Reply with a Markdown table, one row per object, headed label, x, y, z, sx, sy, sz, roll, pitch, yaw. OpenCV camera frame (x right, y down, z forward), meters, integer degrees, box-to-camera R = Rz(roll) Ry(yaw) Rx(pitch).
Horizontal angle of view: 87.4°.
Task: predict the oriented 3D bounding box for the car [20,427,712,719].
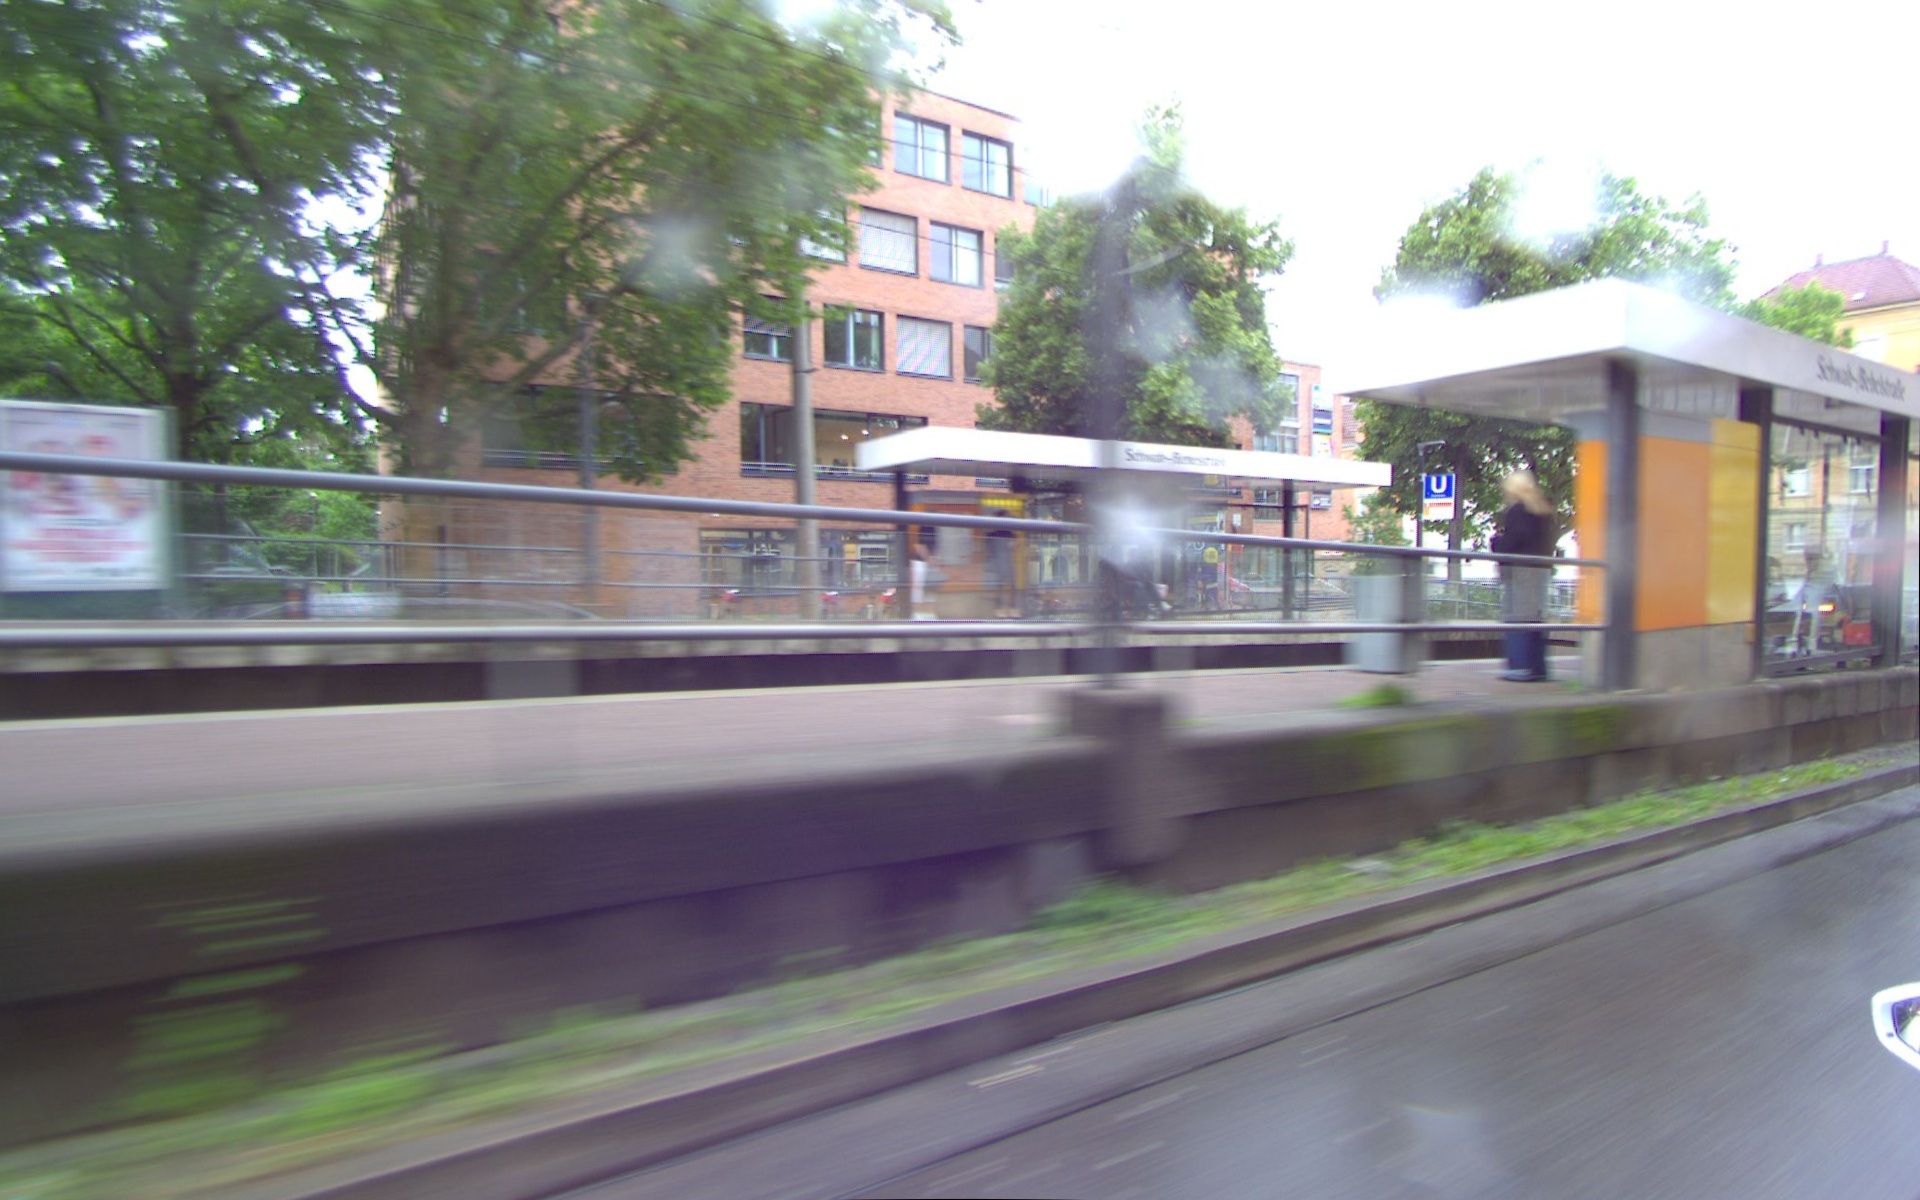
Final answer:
| label | x | y | z | sx | sy | sz | roll | pitch | yaw |
| --- | --- | --- | --- | --- | --- | --- | --- | --- | --- |
| car | -3.544 | -0.145 | 6.505 | 3.426 | 1.409 | 1.681 | 0 | 1 | -33 |

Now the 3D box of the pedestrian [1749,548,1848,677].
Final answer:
| label | x | y | z | sx | sy | sz | roll | pitch | yaw |
| --- | --- | --- | --- | --- | --- | --- | --- | --- | --- |
| pedestrian | 8.373 | 0.117 | 10.040 | 0.501 | 1.243 | 0.611 | 0 | 2 | -30 |

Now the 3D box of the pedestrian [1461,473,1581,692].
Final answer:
| label | x | y | z | sx | sy | sz | roll | pitch | yaw |
| --- | --- | --- | --- | --- | --- | --- | --- | --- | --- |
| pedestrian | 4.337 | -0.130 | 7.783 | 0.626 | 1.626 | 0.495 | 0 | 1 | -17 |

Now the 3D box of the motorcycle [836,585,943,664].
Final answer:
| label | x | y | z | sx | sy | sz | roll | pitch | yaw |
| --- | --- | --- | --- | --- | --- | --- | --- | --- | --- |
| motorcycle | -1.903 | 0.570 | 26.159 | 0.996 | 1.840 | 3.839 | 0 | 2 | -34 |

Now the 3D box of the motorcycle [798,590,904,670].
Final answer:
| label | x | y | z | sx | sy | sz | roll | pitch | yaw |
| --- | --- | --- | --- | --- | --- | --- | --- | --- | --- |
| motorcycle | -2.845 | 0.690 | 25.525 | 0.996 | 1.840 | 3.839 | 0 | 2 | -34 |

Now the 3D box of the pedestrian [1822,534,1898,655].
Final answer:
| label | x | y | z | sx | sy | sz | roll | pitch | yaw |
| --- | --- | --- | --- | --- | --- | --- | --- | --- | --- |
| pedestrian | 12.227 | -0.075 | 13.650 | 0.501 | 1.602 | 0.611 | 0 | 2 | -30 |

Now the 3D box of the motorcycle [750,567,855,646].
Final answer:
| label | x | y | z | sx | sy | sz | roll | pitch | yaw |
| --- | --- | --- | --- | --- | --- | --- | --- | --- | --- |
| motorcycle | -3.941 | 0.107 | 24.671 | 0.996 | 1.798 | 3.839 | 0 | 2 | -34 |

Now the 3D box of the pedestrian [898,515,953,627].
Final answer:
| label | x | y | z | sx | sy | sz | roll | pitch | yaw |
| --- | --- | --- | --- | --- | --- | --- | --- | --- | --- |
| pedestrian | -0.525 | -0.443 | 15.292 | 0.558 | 1.663 | 0.682 | -1 | 3 | -35 |

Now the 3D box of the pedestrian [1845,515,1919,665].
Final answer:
| label | x | y | z | sx | sy | sz | roll | pitch | yaw |
| --- | --- | --- | --- | --- | --- | --- | --- | --- | --- |
| pedestrian | 11.008 | -0.118 | 11.895 | 0.580 | 1.711 | 0.611 | 0 | 2 | -30 |

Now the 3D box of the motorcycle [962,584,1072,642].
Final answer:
| label | x | y | z | sx | sy | sz | roll | pitch | yaw |
| --- | --- | --- | --- | --- | --- | --- | --- | --- | --- |
| motorcycle | 1.539 | 0.316 | 28.522 | 0.996 | 1.508 | 3.839 | 0 | 2 | -34 |

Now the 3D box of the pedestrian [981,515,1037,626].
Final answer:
| label | x | y | z | sx | sy | sz | roll | pitch | yaw |
| --- | --- | --- | --- | --- | --- | --- | --- | --- | --- |
| pedestrian | 0.785 | -0.472 | 16.185 | 0.699 | 1.738 | 0.558 | -1 | 3 | -35 |

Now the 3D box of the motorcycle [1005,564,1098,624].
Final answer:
| label | x | y | z | sx | sy | sz | roll | pitch | yaw |
| --- | --- | --- | --- | --- | --- | --- | --- | --- | --- |
| motorcycle | 2.609 | -0.191 | 29.098 | 0.996 | 1.649 | 3.038 | 0 | 2 | -34 |

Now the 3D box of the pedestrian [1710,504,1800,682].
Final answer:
| label | x | y | z | sx | sy | sz | roll | pitch | yaw |
| --- | --- | --- | --- | --- | --- | --- | --- | --- | --- |
| pedestrian | 7.466 | -0.063 | 9.441 | 0.522 | 1.610 | 0.502 | 0 | 2 | -34 |

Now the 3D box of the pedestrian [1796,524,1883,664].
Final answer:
| label | x | y | z | sx | sy | sz | roll | pitch | yaw |
| --- | --- | --- | --- | --- | --- | --- | --- | --- | --- |
| pedestrian | 10.389 | -0.076 | 11.874 | 0.501 | 1.602 | 0.611 | 0 | 2 | -30 |

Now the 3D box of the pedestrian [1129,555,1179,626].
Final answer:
| label | x | y | z | sx | sy | sz | roll | pitch | yaw |
| --- | --- | --- | --- | --- | --- | --- | --- | --- | --- |
| pedestrian | 3.526 | -0.185 | 18.259 | 0.558 | 1.257 | 0.699 | -1 | 3 | -35 |

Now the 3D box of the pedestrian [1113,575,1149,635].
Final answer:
| label | x | y | z | sx | sy | sz | roll | pitch | yaw |
| --- | --- | --- | --- | --- | --- | --- | --- | --- | --- |
| pedestrian | 5.863 | 0.164 | 34.419 | 0.968 | 2.041 | 0.730 | 0 | 1 | -28 |

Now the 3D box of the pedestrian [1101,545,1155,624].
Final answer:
| label | x | y | z | sx | sy | sz | roll | pitch | yaw |
| --- | --- | --- | --- | --- | --- | --- | --- | --- | --- |
| pedestrian | 2.990 | -0.285 | 17.932 | 0.558 | 1.381 | 0.772 | -1 | 3 | -35 |
